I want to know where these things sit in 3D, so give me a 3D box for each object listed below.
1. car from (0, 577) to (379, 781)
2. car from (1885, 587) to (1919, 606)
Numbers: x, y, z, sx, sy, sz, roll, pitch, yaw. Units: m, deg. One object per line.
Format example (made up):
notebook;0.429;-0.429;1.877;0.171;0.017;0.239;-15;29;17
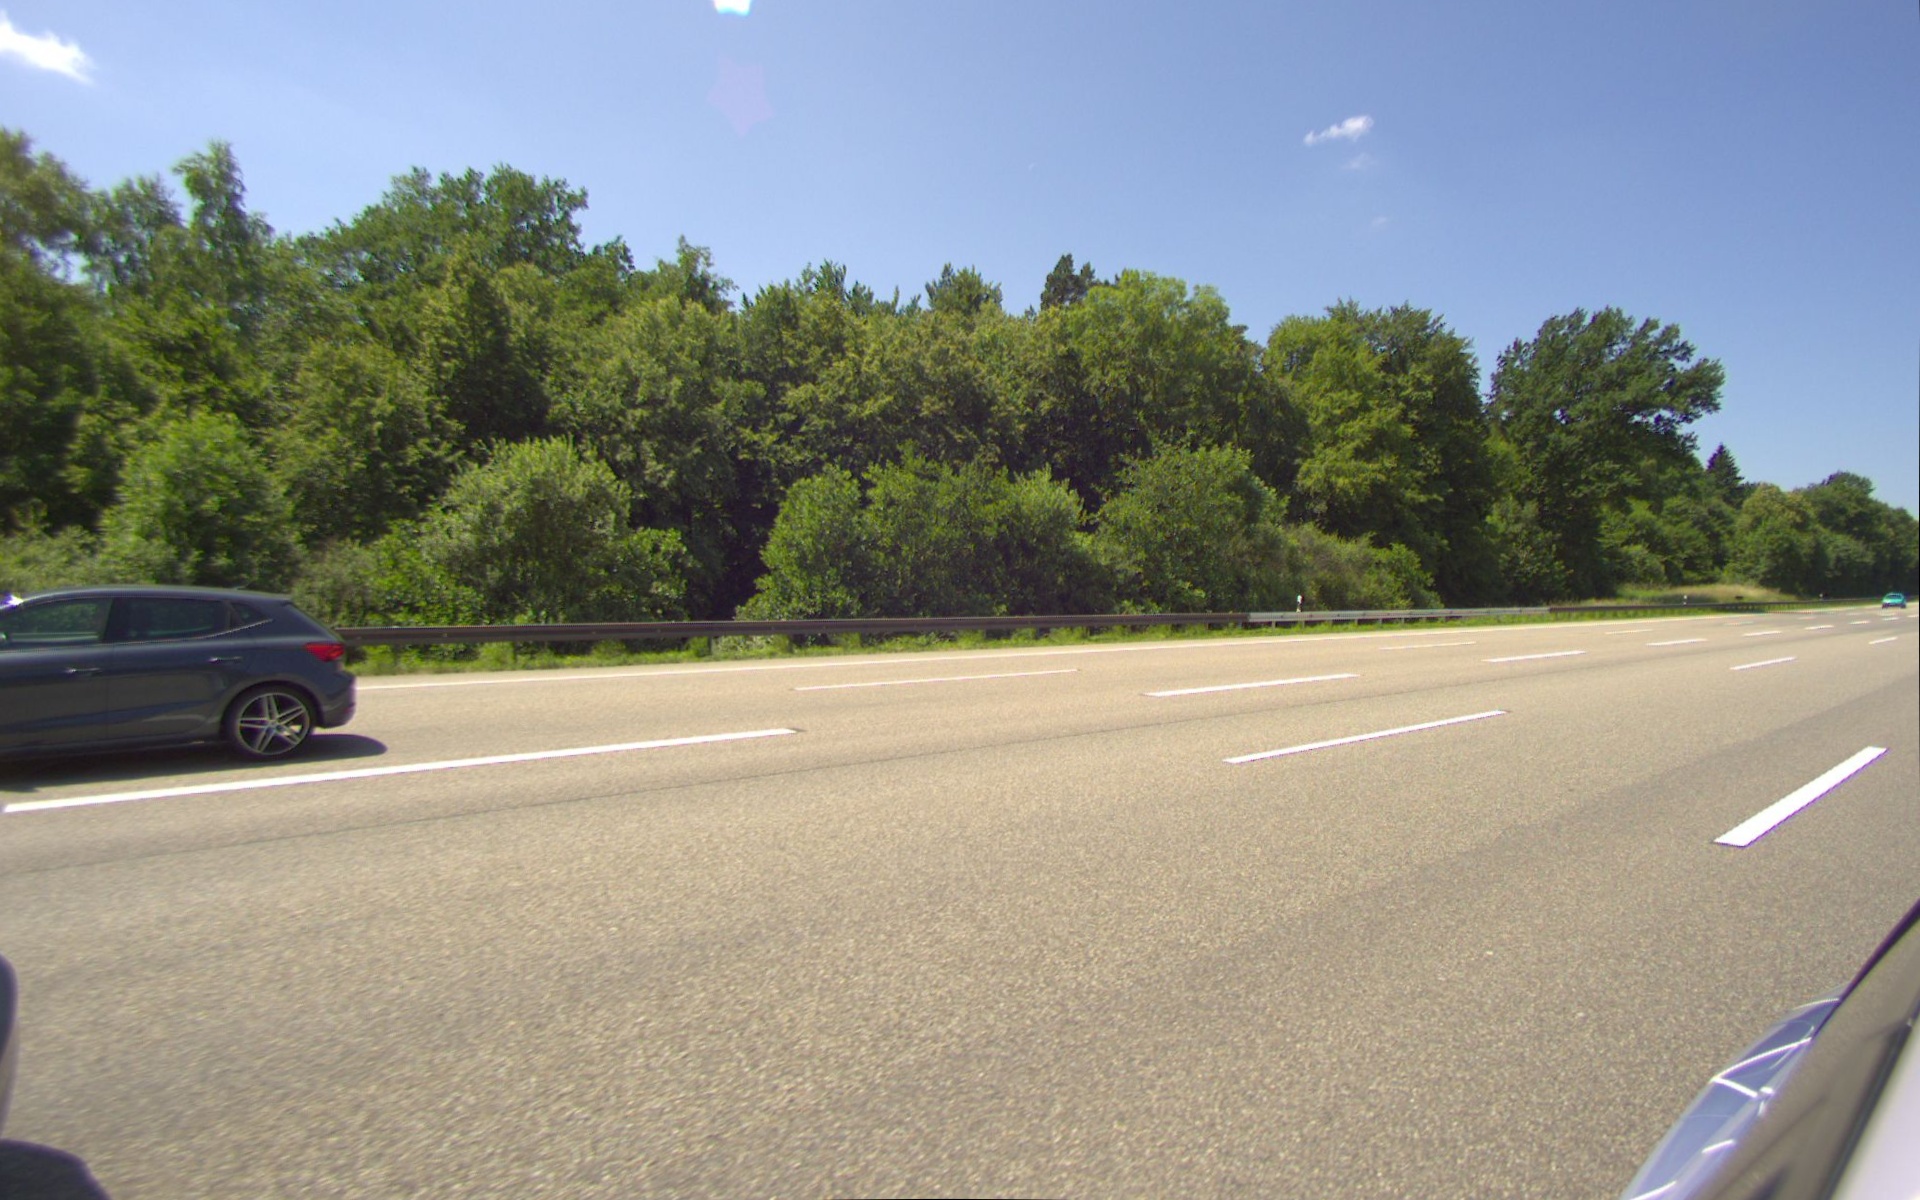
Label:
car;-7.309;0.562;7.949;4.555;1.456;1.646;-1;0;-41
car;92.974;-0.385;99.764;4.053;1.701;1.999;0;3;-39
